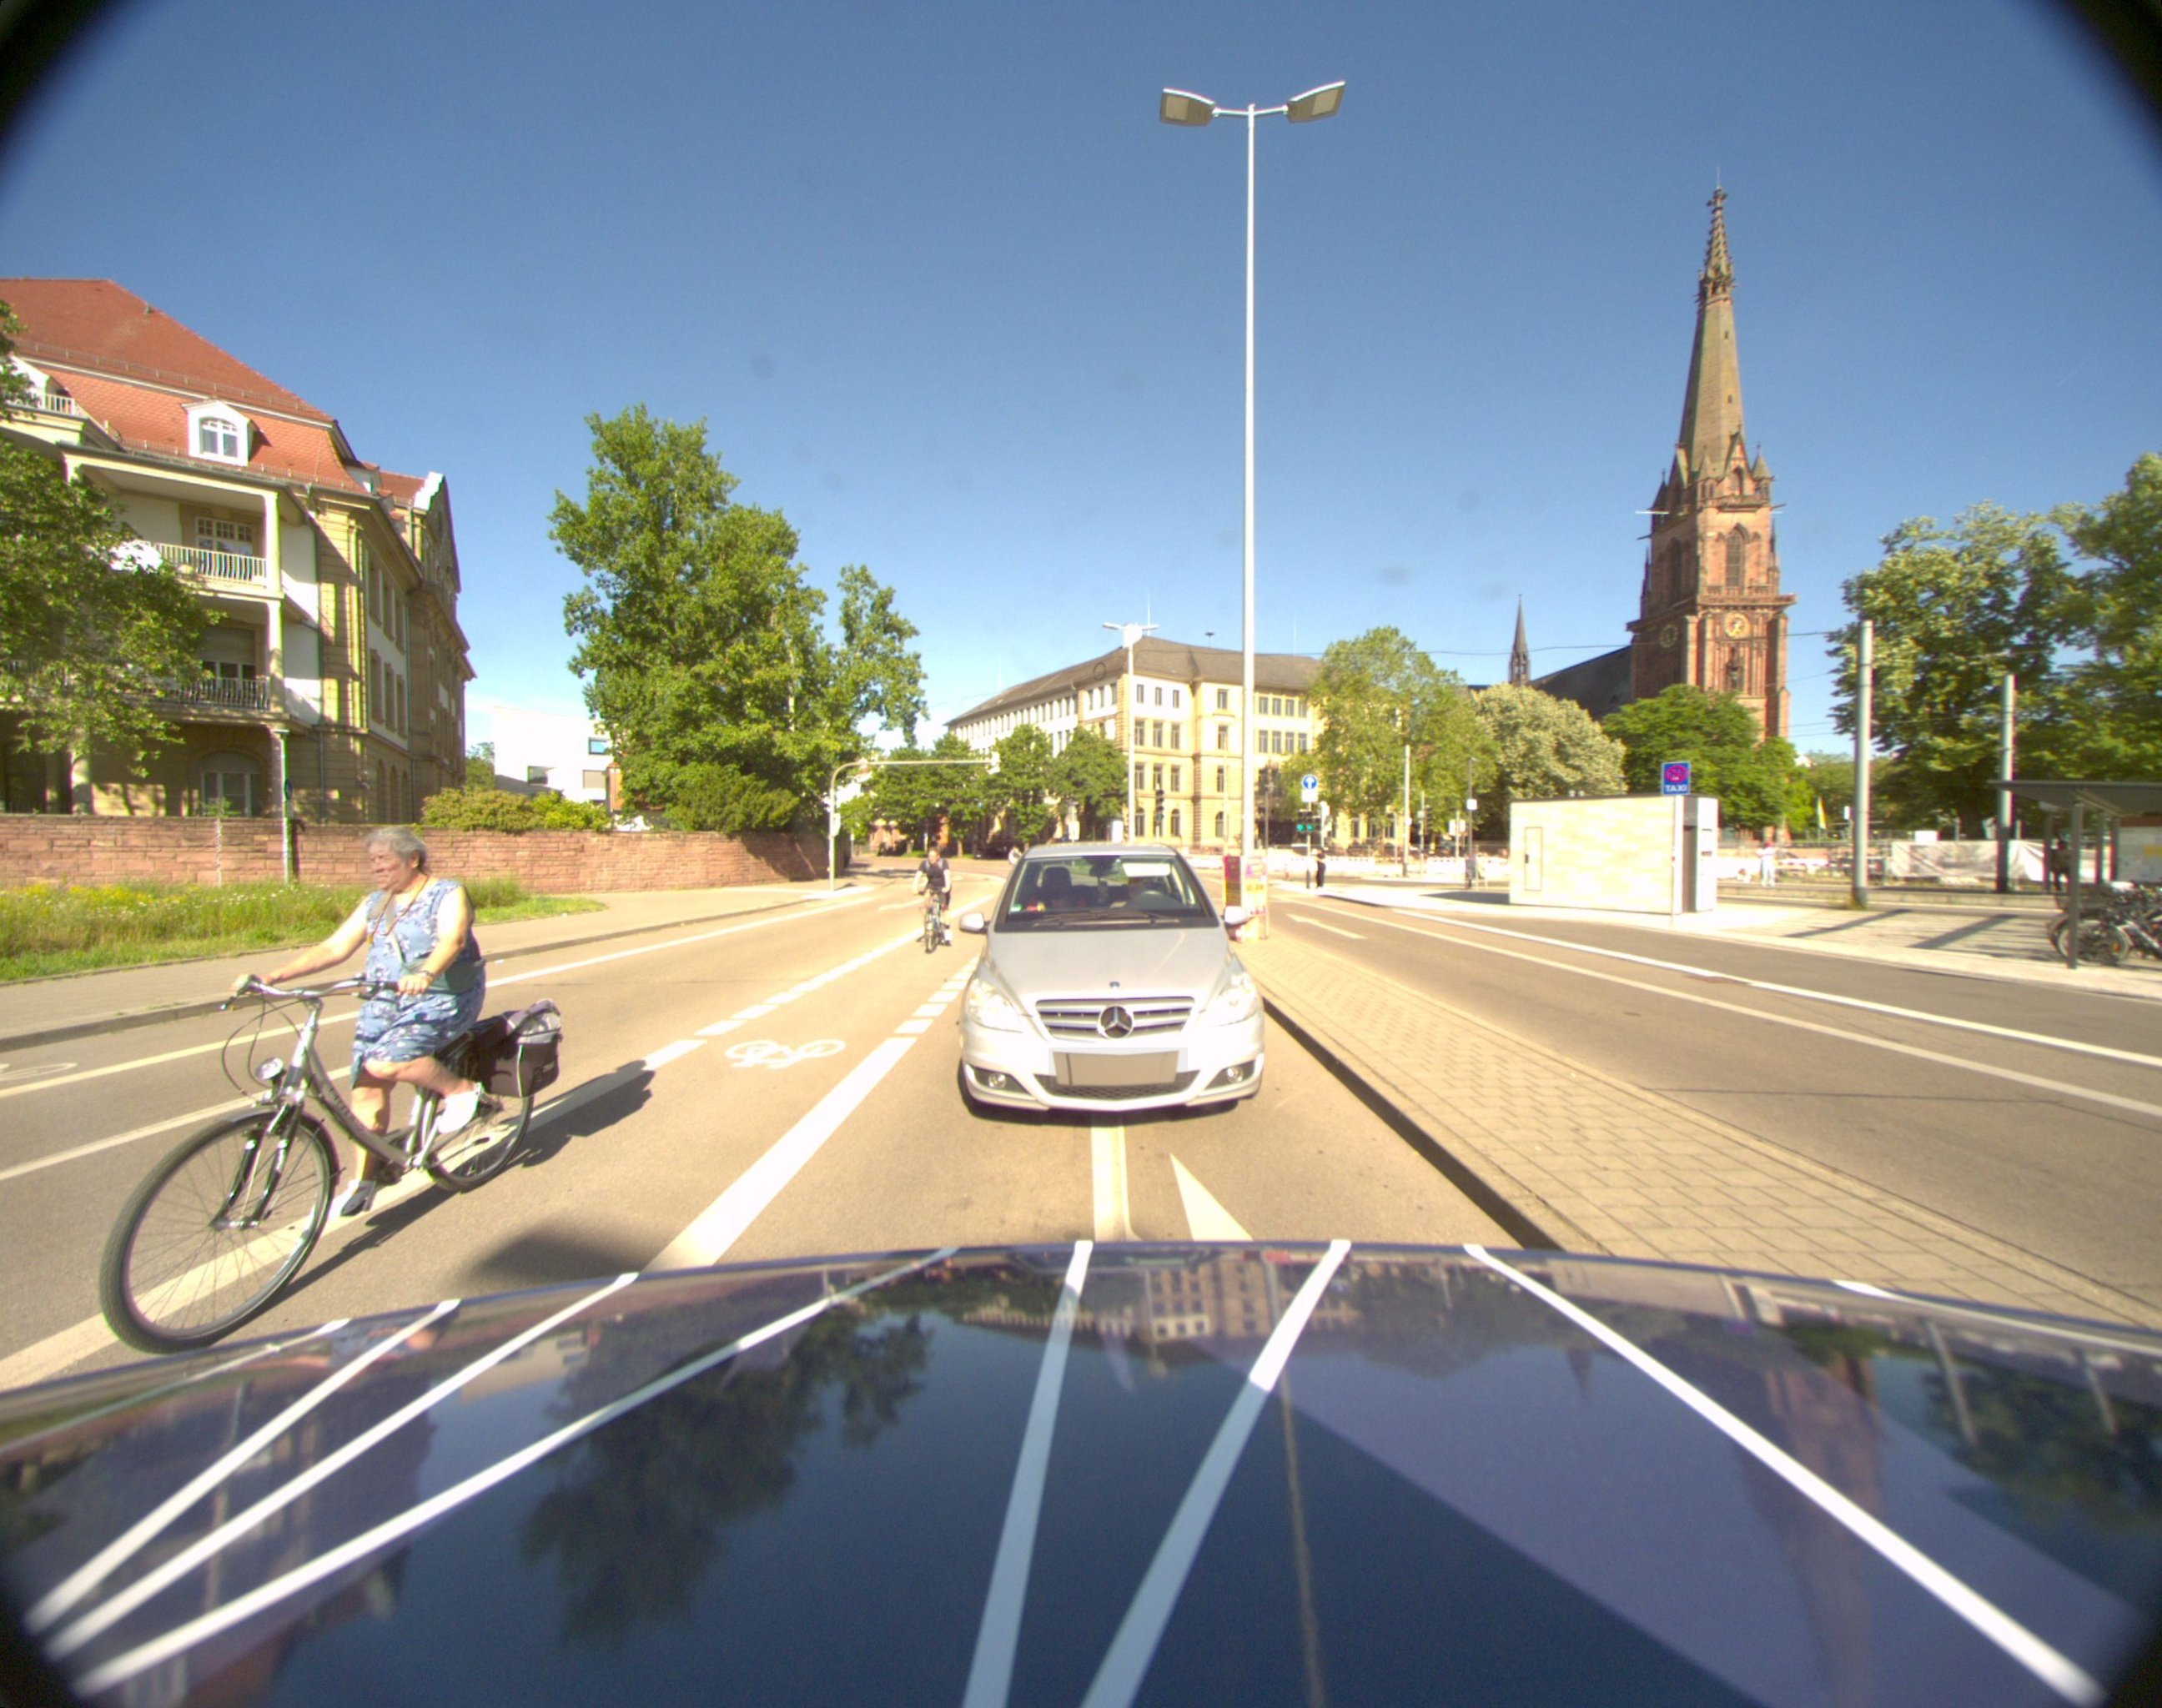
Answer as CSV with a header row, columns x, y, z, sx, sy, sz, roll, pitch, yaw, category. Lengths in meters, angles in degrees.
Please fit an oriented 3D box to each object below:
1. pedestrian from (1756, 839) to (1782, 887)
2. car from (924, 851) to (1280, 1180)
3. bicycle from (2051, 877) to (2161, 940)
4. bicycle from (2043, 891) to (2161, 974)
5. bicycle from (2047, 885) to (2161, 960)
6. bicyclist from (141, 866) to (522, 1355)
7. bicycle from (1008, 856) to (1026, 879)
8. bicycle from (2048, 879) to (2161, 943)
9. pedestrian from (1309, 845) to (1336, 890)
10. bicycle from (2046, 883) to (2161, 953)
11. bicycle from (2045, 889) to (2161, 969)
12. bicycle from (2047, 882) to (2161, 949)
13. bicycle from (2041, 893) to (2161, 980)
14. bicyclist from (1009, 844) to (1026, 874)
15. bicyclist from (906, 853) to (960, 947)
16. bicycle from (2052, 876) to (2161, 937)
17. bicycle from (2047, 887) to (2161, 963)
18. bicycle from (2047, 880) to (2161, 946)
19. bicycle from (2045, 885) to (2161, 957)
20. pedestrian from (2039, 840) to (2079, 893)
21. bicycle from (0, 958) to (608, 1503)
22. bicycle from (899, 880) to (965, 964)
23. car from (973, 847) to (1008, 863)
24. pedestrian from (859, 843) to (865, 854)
x,y,z,sx,sy,sz,roll,pitch,yaw,category
25.119,0.333,27.760,0.537,1.712,0.683,-1,-3,31,pedestrian
0.160,0.809,6.137,1.770,1.585,4.638,-1,1,1,car
19.136,0.990,13.831,0.569,1.032,1.783,0,2,-37,bicycle
14.542,1.081,10.318,0.569,1.032,1.783,0,2,-37,bicycle
16.197,1.053,11.581,0.569,1.032,1.783,0,2,-37,bicycle
-2.836,0.891,2.979,0.643,1.653,0.776,-1,2,0,bicyclist
-3.402,0.721,40.464,0.778,1.158,1.967,-1,1,1,bicycle
18.651,1.005,13.486,0.569,1.032,1.783,0,2,-37,bicycle
9.281,0.507,29.204,0.789,1.671,0.648,-2,2,2,pedestrian
17.168,1.047,12.347,0.569,1.032,1.783,0,2,-37,bicycle
15.146,1.072,10.776,0.569,1.032,1.783,0,2,-37,bicycle
17.694,1.033,12.759,0.569,1.032,1.783,0,2,-37,bicycle
14.018,1.094,9.928,0.569,1.032,1.783,0,2,-37,bicycle
-3.393,0.265,40.461,0.778,1.543,0.919,-1,1,1,bicyclist
-2.371,0.717,12.272,0.643,1.436,0.953,-1,1,1,bicyclist
19.617,0.977,14.196,0.569,1.032,1.783,0,2,-37,bicycle
15.700,1.056,11.189,0.569,1.032,1.783,0,2,-37,bicycle
18.166,1.018,13.124,0.569,1.032,1.783,0,2,-37,bicycle
16.676,1.059,11.973,0.569,1.032,1.783,0,2,-37,bicycle
30.752,0.382,23.896,0.567,1.645,0.518,-2,2,1,pedestrian
-2.831,1.144,3.002,0.642,1.158,1.967,-1,1,1,bicycle
-2.363,1.044,12.245,0.642,1.158,1.870,-1,1,1,bicycle
-10.804,0.082,90.816,1.994,1.805,3.809,1,2,44,car
-32.971,-0.822,114.441,0.637,1.602,0.845,-3,2,-20,pedestrian
